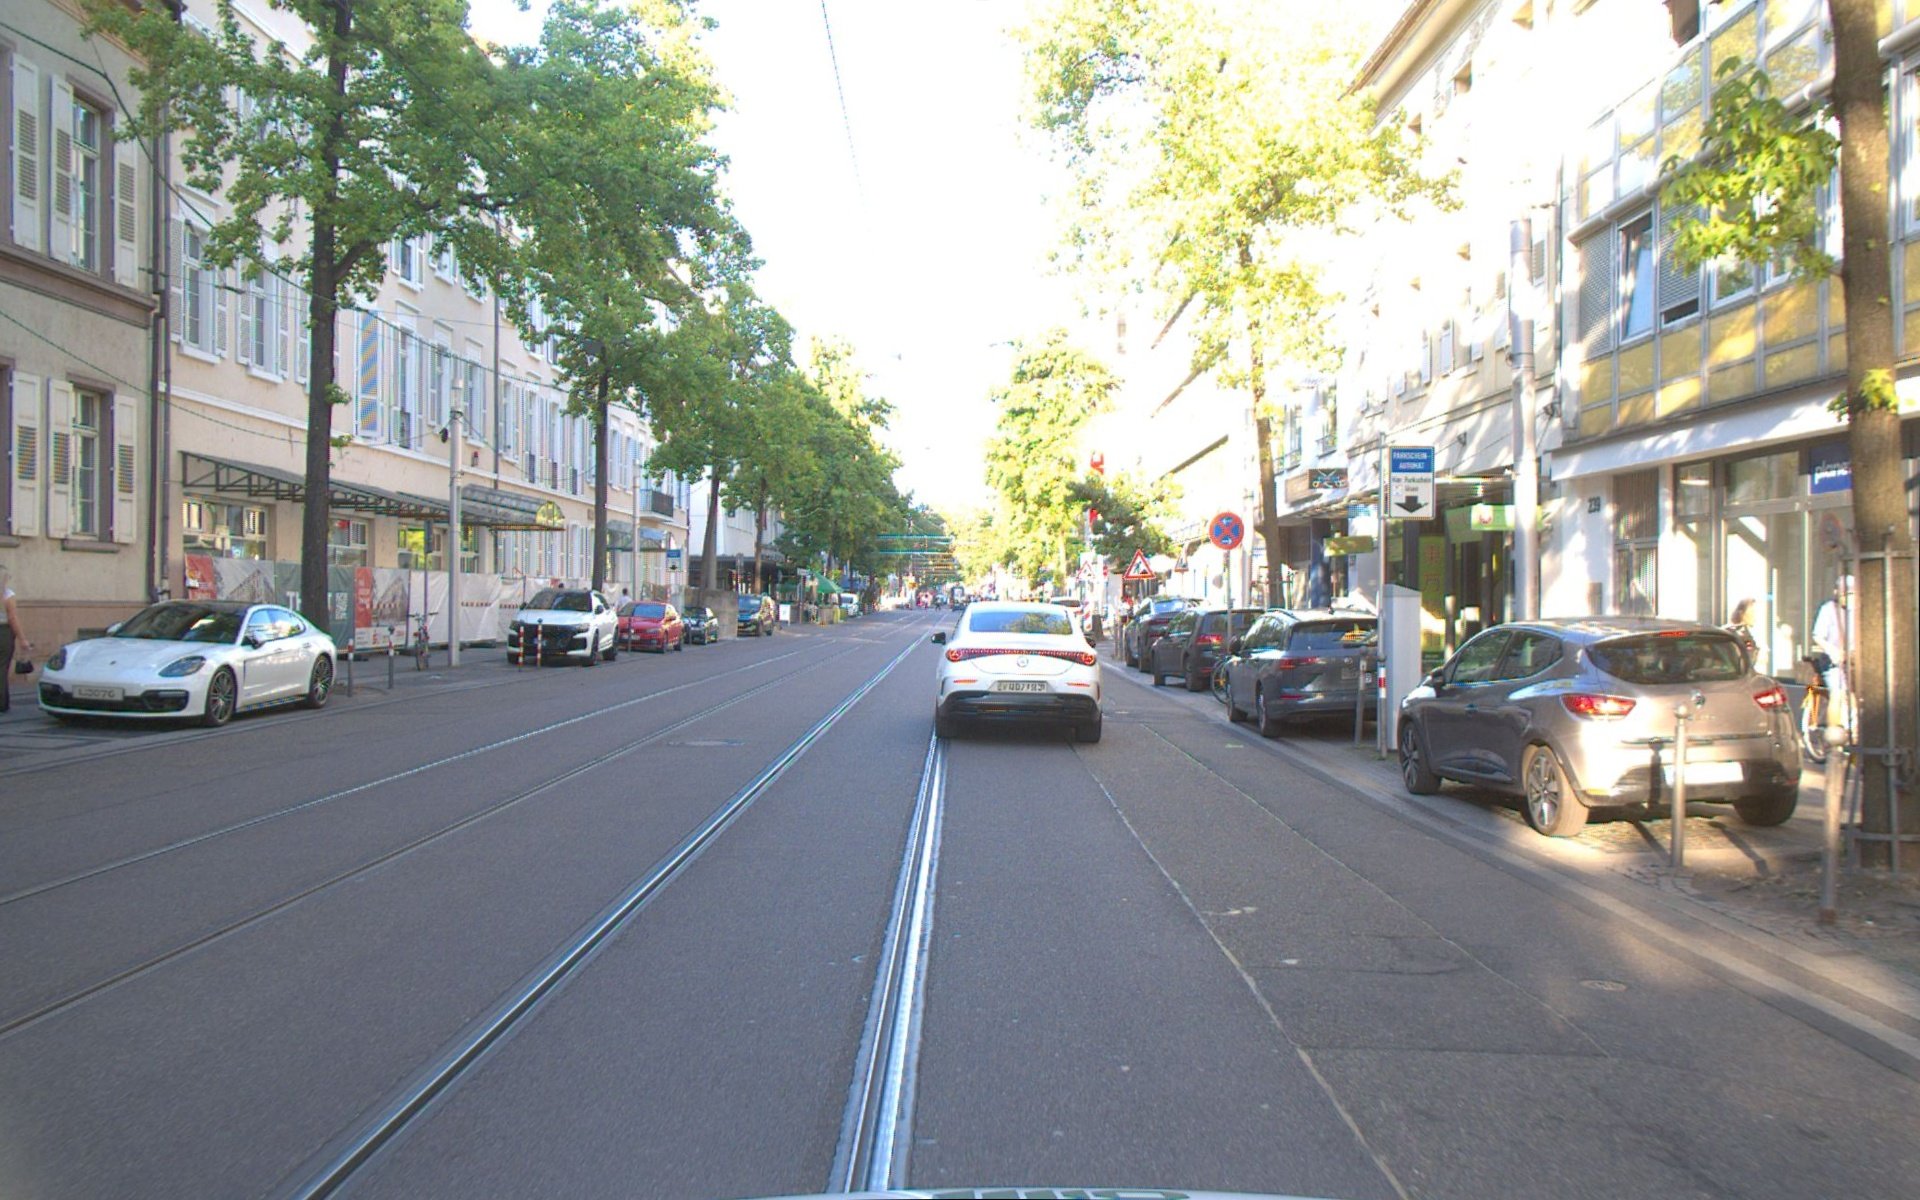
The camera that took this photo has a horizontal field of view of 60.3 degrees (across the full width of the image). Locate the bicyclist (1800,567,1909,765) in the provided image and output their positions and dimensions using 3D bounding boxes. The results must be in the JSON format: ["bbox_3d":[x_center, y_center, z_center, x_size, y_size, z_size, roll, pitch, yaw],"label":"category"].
[{"bbox_3d":[7.941,0.575,14.699,0.626,1.713,0.599,0,0,-2],"label":"bicyclist"}]

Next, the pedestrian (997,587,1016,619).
[{"bbox_3d":[2.647,0.177,94.712,0.904,1.805,0.870,0,0,-14],"label":"pedestrian"}]

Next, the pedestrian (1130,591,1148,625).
[{"bbox_3d":[9.611,0.418,88.775,0.785,1.805,0.681,0,0,-12],"label":"pedestrian"}]

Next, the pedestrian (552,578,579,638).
[{"bbox_3d":[-12.153,0.238,50.935,0.693,1.838,0.675,0,0,-5],"label":"pedestrian"}]

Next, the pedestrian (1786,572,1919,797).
[{"bbox_3d":[6.910,0.632,12.702,0.780,1.675,0.699,0,0,-2],"label":"pedestrian"}]

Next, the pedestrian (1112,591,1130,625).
[{"bbox_3d":[8.653,0.422,89.085,0.785,1.805,0.681,0,0,-12],"label":"pedestrian"}]

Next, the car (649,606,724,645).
[{"bbox_3d":[-9.532,0.874,57.998,1.953,1.315,4.000,1,0,0],"label":"car"}]

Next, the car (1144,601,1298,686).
[{"bbox_3d":[4.689,0.744,30.263,1.802,1.461,3.995,0,0,-6],"label":"car"}]

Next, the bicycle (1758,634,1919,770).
[{"bbox_3d":[7.949,0.874,14.840,0.634,1.093,1.861,-1,0,-2],"label":"bicycle"}]

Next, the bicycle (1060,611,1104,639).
[{"bbox_3d":[4.713,0.951,63.895,1.686,1.080,0.581,0,0,3],"label":"bicycle"}]

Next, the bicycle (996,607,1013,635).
[{"bbox_3d":[1.971,0.936,73.919,0.725,1.209,2.160,0,-1,1],"label":"bicycle"}]

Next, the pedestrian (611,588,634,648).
[{"bbox_3d":[-11.482,0.615,56.277,0.693,2.039,0.675,0,0,-3],"label":"pedestrian"}]

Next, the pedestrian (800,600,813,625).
[{"bbox_3d":[-9.463,0.759,102.088,0.511,1.504,0.644,-2,-1,-27],"label":"pedestrian"}]

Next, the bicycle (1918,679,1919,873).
[{"bbox_3d":[5.632,0.922,7.877,1.821,1.093,0.711,-1,0,-10],"label":"bicycle"}]

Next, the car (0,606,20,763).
[{"bbox_3d":[-9.687,0.759,13.056,1.922,1.437,4.844,1,0,-3],"label":"car"}]

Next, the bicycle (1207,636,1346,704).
[{"bbox_3d":[4.656,1.030,24.388,1.994,0.981,0.282,0,0,5],"label":"bicycle"}]

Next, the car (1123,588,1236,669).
[{"bbox_3d":[4.978,0.615,38.135,1.953,1.743,4.866,0,0,0],"label":"car"}]

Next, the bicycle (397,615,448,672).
[{"bbox_3d":[-10.702,0.853,32.969,0.582,1.069,2.006,0,0,-7],"label":"bicycle"}]

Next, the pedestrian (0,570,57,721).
[{"bbox_3d":[-11.246,0.524,19.612,0.672,1.751,0.656,1,0,0],"label":"pedestrian"}]

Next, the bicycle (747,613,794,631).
[{"bbox_3d":[-9.263,1.064,80.872,2.207,0.845,0.716,0,0,22],"label":"bicycle"}]

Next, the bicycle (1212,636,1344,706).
[{"bbox_3d":[4.617,1.025,24.049,1.856,0.981,0.332,0,0,5],"label":"bicycle"}]

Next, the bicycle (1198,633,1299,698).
[{"bbox_3d":[4.491,1.010,25.801,1.506,0.981,0.496,0,0,4],"label":"bicycle"}]

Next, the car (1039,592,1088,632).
[{"bbox_3d":[4.655,0.511,74.894,1.952,1.758,4.241,0,0,0],"label":"car"}]

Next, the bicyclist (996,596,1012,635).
[{"bbox_3d":[1.974,0.680,73.915,0.710,1.732,0.811,0,-1,1],"label":"bicyclist"}]

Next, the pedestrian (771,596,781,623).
[{"bbox_3d":[-11.435,0.595,102.909,0.506,1.681,0.650,0,0,0],"label":"pedestrian"}]

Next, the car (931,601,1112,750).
[{"bbox_3d":[0.701,0.765,18.766,1.829,1.494,4.043,0,0,2],"label":"car"}]

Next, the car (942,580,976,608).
[{"bbox_3d":[-0.140,-0.662,196.289,3.956,3.169,8.430,0,0,0],"label":"car"}]

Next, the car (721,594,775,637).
[{"bbox_3d":[-9.088,0.643,71.046,1.519,1.827,3.170,0,0,8],"label":"car"}]

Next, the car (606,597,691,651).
[{"bbox_3d":[-9.224,0.705,49.284,1.654,1.525,4.234,1,0,1],"label":"car"}]

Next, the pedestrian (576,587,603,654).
[{"bbox_3d":[-11.355,0.617,50.659,0.693,2.039,0.675,0,0,-3],"label":"pedestrian"}]

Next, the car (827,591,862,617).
[{"bbox_3d":[-9.314,0.289,133.537,1.951,2.049,4.003,0,0,8],"label":"car"}]

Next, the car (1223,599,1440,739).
[{"bbox_3d":[4.437,0.763,20.347,1.832,1.478,4.107,-2,0,2],"label":"car"}]

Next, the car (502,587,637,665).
[{"bbox_3d":[-9.199,0.583,39.399,1.921,1.721,5.013,1,0,1],"label":"car"}]

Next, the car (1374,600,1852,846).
[{"bbox_3d":[4.714,0.794,12.643,1.779,1.512,3.996,-2,0,-5],"label":"car"}]

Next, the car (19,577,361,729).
[{"bbox_3d":[-9.526,0.608,21.011,1.906,1.668,4.910,1,0,1],"label":"car"}]
